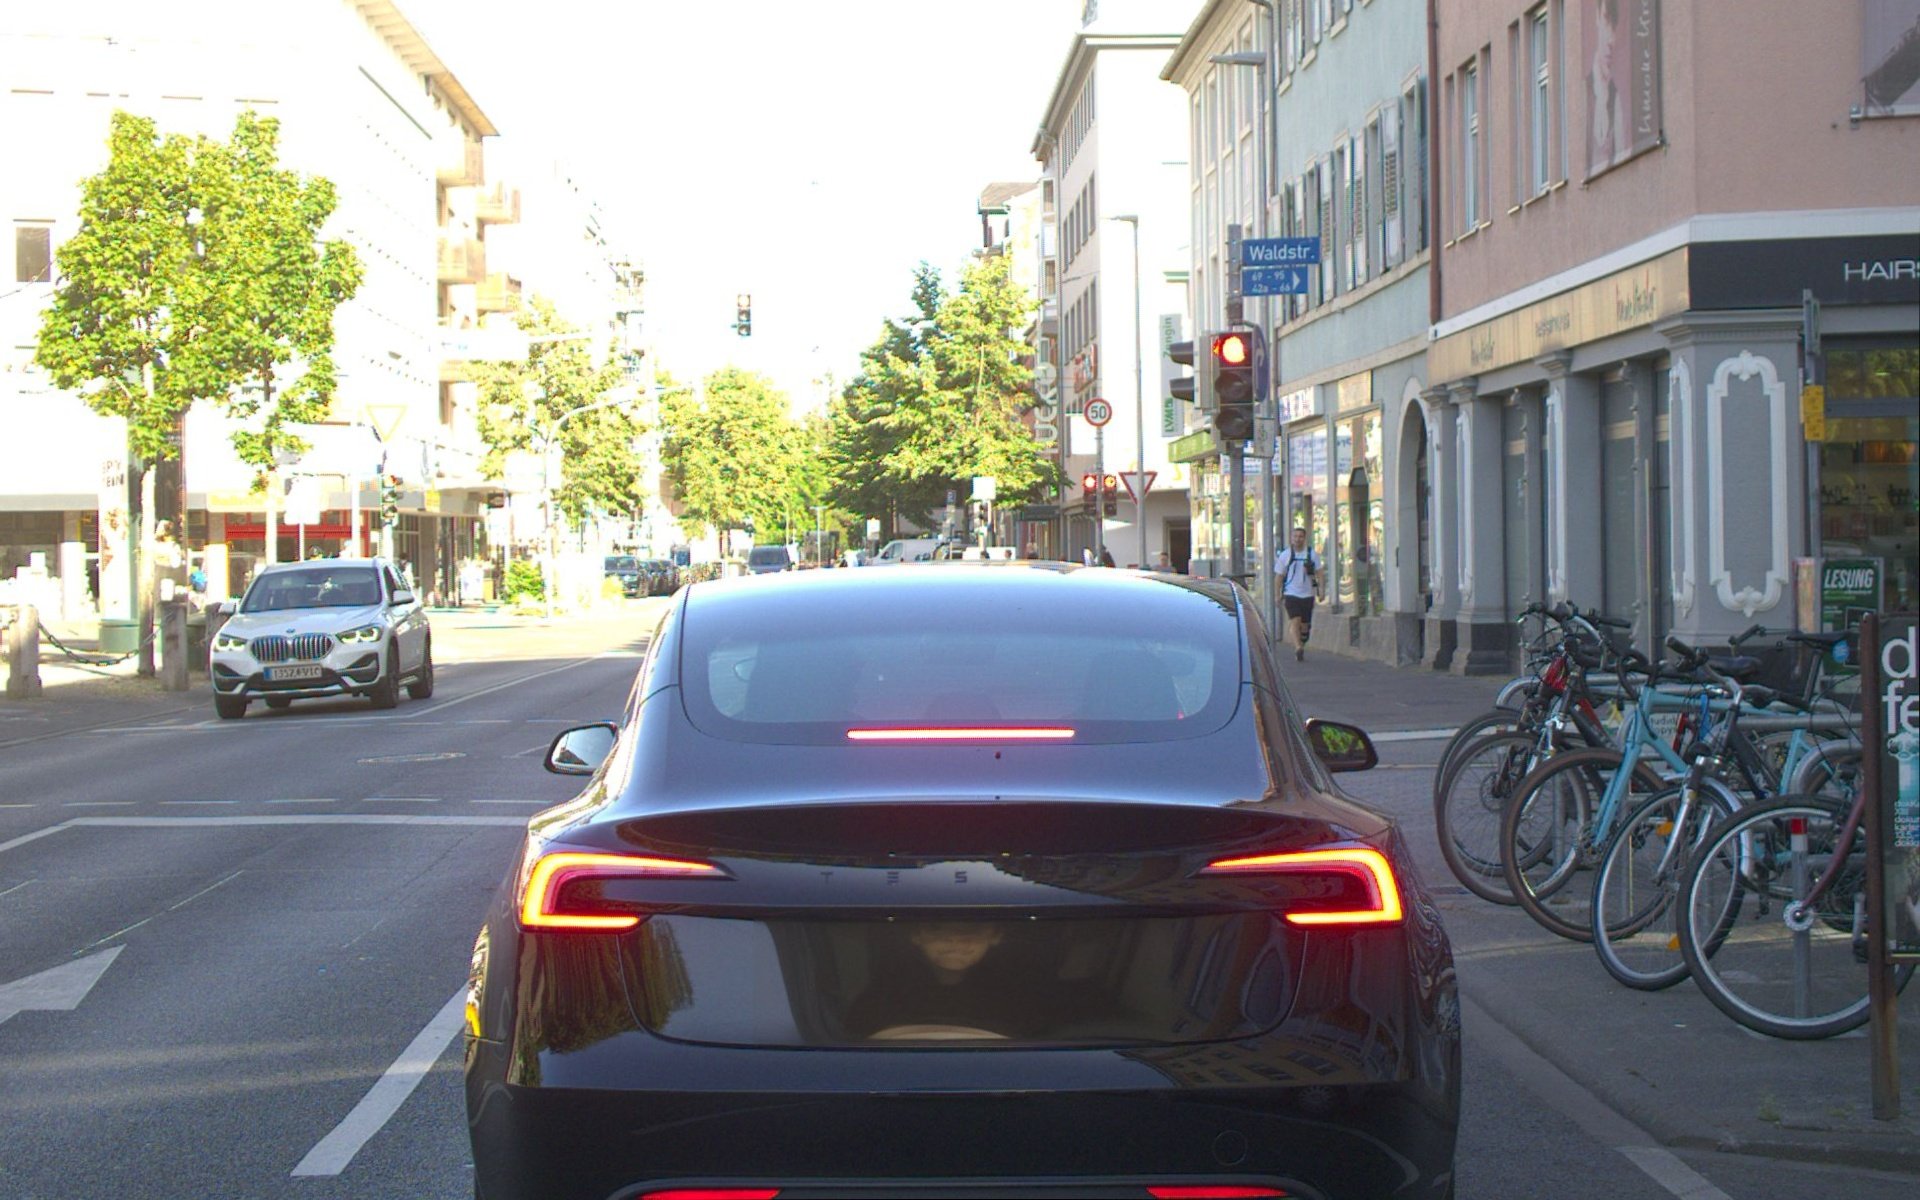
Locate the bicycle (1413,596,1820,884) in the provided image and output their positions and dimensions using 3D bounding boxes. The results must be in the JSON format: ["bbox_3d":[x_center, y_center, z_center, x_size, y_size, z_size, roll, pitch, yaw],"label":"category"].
[{"bbox_3d":[2.807,0.591,14.766,1.628,1.156,0.433,-2,1,1],"label":"bicycle"}]

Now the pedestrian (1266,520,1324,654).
[{"bbox_3d":[4.473,-0.181,45.935,0.704,1.777,0.533,0,1,-1],"label":"pedestrian"}]

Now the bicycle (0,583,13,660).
[{"bbox_3d":[-14.921,0.306,49.982,2.082,1.100,0.806,0,1,-1],"label":"bicycle"}]

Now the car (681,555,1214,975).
[{"bbox_3d":[-0.038,0.548,13.830,1.850,1.450,3.786,0,1,0],"label":"car"}]

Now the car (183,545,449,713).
[{"bbox_3d":[-6.696,0.255,36.139,1.993,1.535,4.000,-4,1,-1],"label":"car"}]

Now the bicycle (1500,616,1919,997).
[{"bbox_3d":[2.628,0.656,11.204,1.627,1.156,0.433,-2,1,-1],"label":"bicycle"}]

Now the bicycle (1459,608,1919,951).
[{"bbox_3d":[2.682,0.642,12.500,1.627,1.156,0.433,-2,1,-1],"label":"bicycle"}]

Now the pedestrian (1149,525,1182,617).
[{"bbox_3d":[3.779,-0.537,63.184,0.570,1.685,0.387,0,1,-1],"label":"pedestrian"}]

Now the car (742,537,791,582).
[{"bbox_3d":[-7.620,-1.606,135.529,1.829,1.718,4.000,0,1,-2],"label":"car"}]

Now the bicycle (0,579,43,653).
[{"bbox_3d":[-15.060,0.235,52.176,2.082,1.100,0.806,0,1,-1],"label":"bicycle"}]

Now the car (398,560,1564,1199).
[{"bbox_3d":[0.039,0.649,7.352,1.850,1.450,3.786,0,1,0],"label":"car"}]

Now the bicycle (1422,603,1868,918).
[{"bbox_3d":[2.684,0.622,13.533,1.627,1.156,0.433,-2,1,-1],"label":"bicycle"}]

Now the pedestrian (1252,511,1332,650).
[{"bbox_3d":[4.424,-0.267,45.903,0.999,1.844,0.615,0,1,-1],"label":"pedestrian"}]
